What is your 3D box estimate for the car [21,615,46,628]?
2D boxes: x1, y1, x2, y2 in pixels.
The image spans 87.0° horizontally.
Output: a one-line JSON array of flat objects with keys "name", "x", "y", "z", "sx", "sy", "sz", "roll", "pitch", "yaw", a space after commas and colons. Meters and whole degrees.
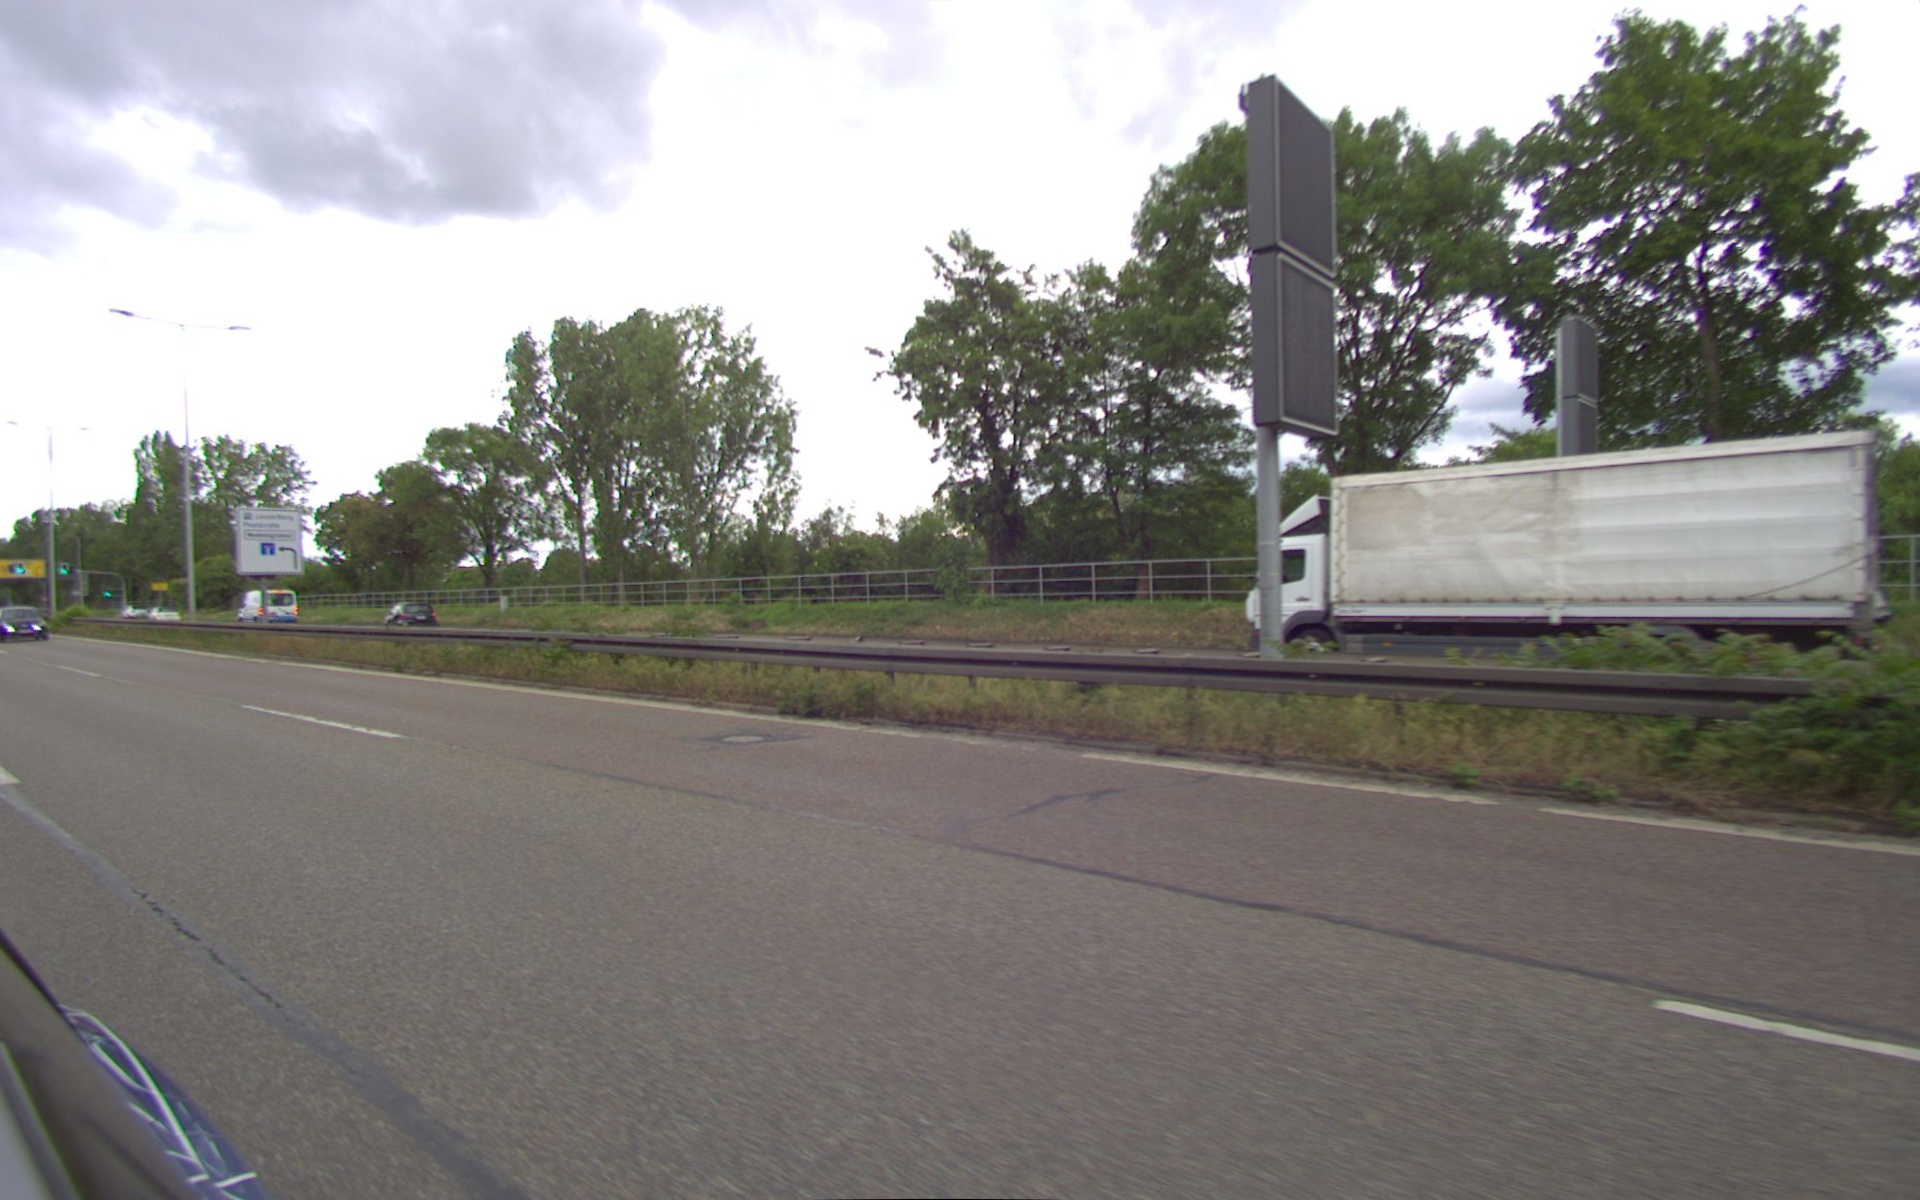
[{"name": "car", "x": -110.382, "y": 2.576, "z": 120.554, "sx": 4.784, "sy": 1.309, "sz": 1.643, "roll": -2, "pitch": 1, "yaw": 40}]

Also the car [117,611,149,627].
[{"name": "car", "x": -85.127, "y": 1.935, "z": 104.204, "sx": 4.200, "sy": 1.501, "sz": 1.859, "roll": -2, "pitch": 1, "yaw": 41}]

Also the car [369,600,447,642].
[{"name": "car", "x": -24.957, "y": 0.947, "z": 45.681, "sx": 4.147, "sy": 1.737, "sz": 1.858, "roll": -2, "pitch": 1, "yaw": 43}]

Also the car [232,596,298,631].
[{"name": "car", "x": -42.281, "y": 0.828, "z": 61.519, "sx": 5.474, "sy": 1.962, "sz": 2.201, "roll": -1, "pitch": 0, "yaw": 43}]

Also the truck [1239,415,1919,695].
[{"name": "truck", "x": 9.862, "y": -0.546, "z": 17.195, "sx": 9.585, "sy": 3.606, "sz": 2.858, "roll": -1, "pitch": 0, "yaw": 42}]

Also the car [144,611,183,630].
[{"name": "car", "x": -62.077, "y": 1.611, "z": 78.891, "sx": 3.987, "sy": 1.409, "sz": 1.642, "roll": -2, "pitch": 1, "yaw": 41}]

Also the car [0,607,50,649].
[{"name": "car", "x": -42.115, "y": 1.255, "z": 44.976, "sx": 4.143, "sy": 1.737, "sz": 1.860, "roll": -2, "pitch": 1, "yaw": 40}]

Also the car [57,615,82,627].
[{"name": "car", "x": -111.290, "y": 2.640, "z": 126.419, "sx": 4.784, "sy": 1.309, "sz": 1.643, "roll": -2, "pitch": 1, "yaw": 40}]
